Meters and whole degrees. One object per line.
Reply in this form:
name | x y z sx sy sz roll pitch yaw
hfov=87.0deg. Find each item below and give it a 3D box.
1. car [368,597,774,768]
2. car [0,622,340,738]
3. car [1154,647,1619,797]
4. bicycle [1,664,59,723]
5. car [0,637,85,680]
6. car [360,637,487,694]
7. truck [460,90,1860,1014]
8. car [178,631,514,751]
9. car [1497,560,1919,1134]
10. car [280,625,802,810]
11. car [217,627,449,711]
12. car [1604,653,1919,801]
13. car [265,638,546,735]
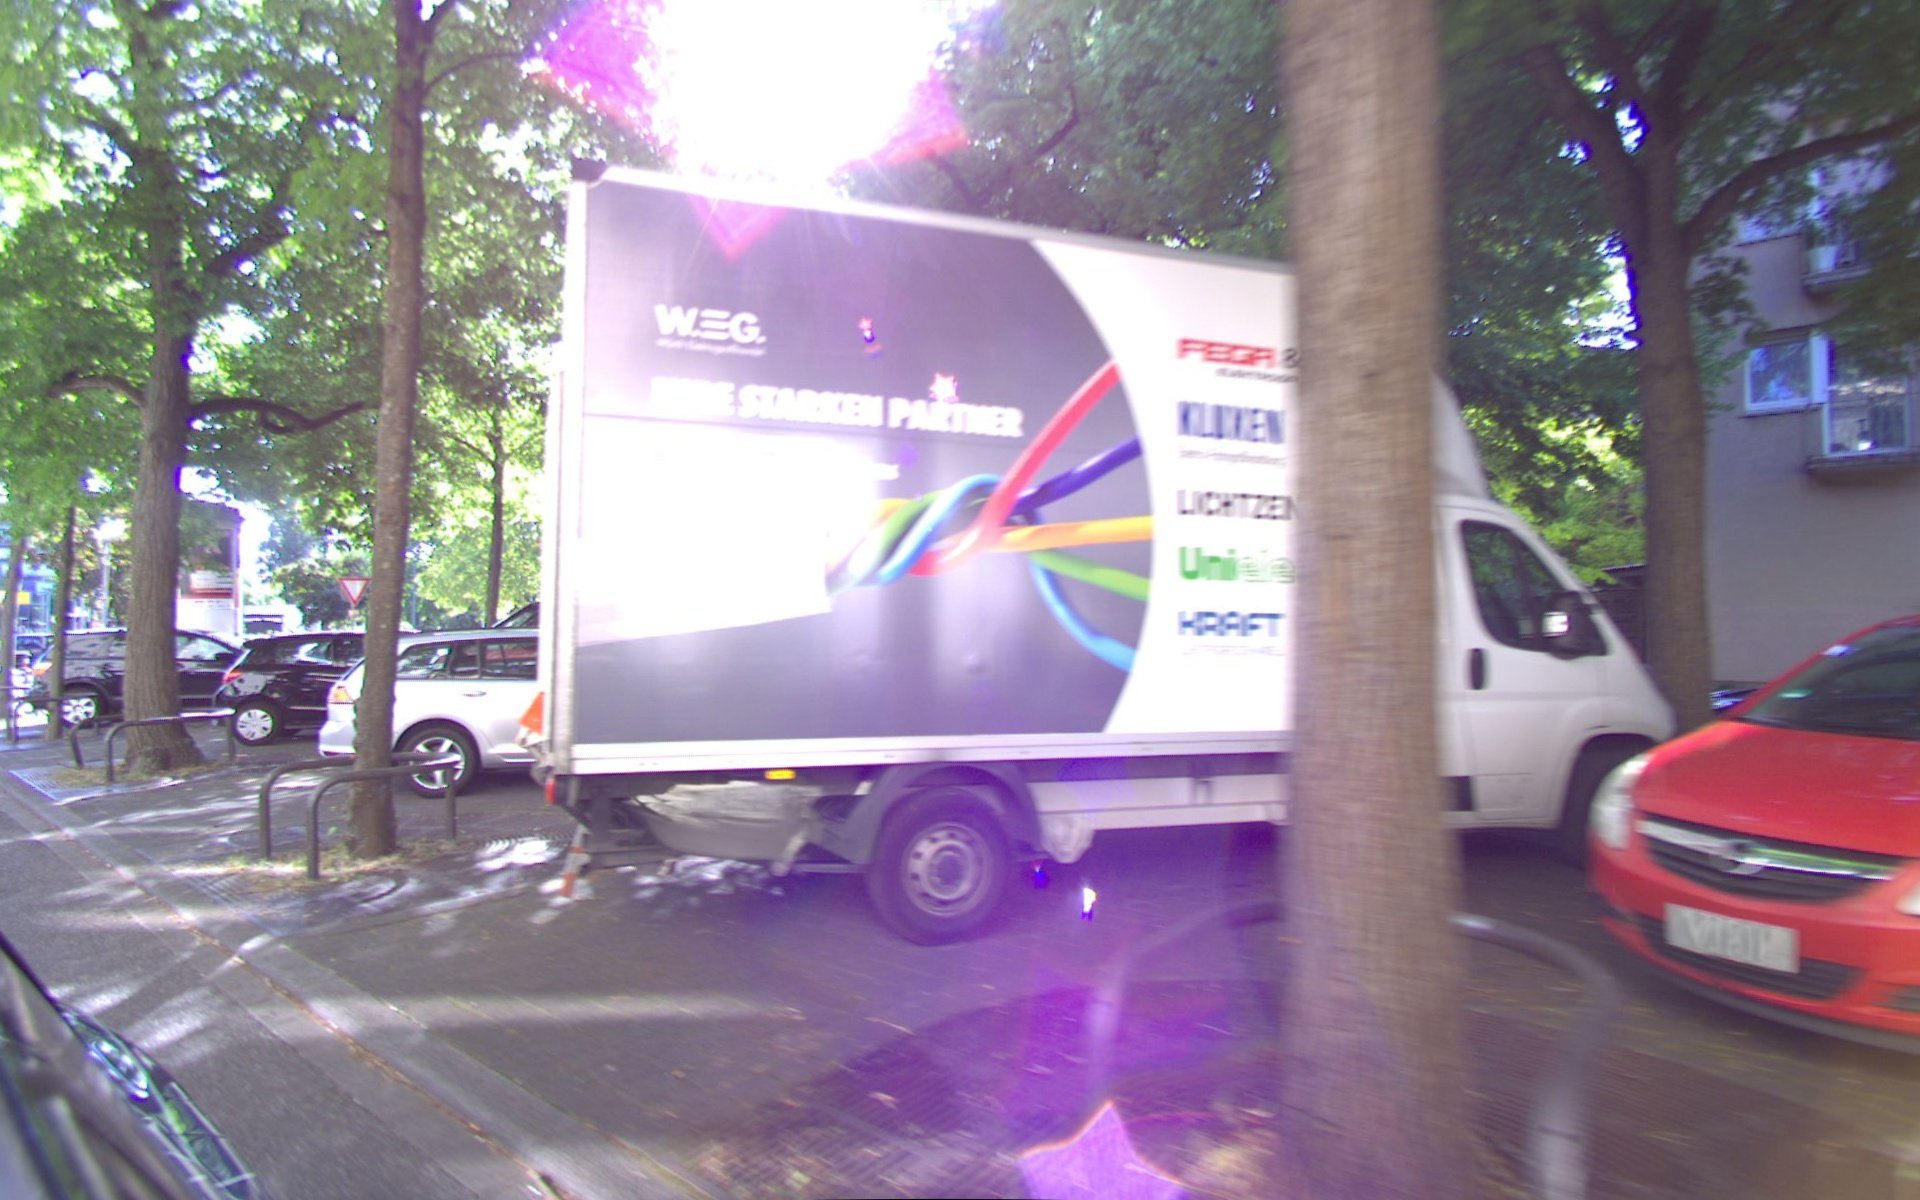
car | -4.681 0.958 12.757 4.426 1.887 1.941 0 -2 -15
car | -13.425 1.303 17.524 4.262 1.684 1.843 -1 -2 -19
car | 4.528 1.205 11.115 4.407 1.304 1.747 -2 -4 38
bicycle | -17.964 1.781 19.543 1.586 1.080 0.350 -1 -3 31
car | -35.322 2.221 38.713 1.655 1.519 3.607 -1 -2 -21
car | -15.675 1.846 29.500 4.298 1.530 1.883 -2 -3 41
truck | 1.282 -0.101 5.933 7.199 3.319 2.554 1 -3 -18
car | -8.391 1.196 14.243 3.757 1.492 1.767 1 -2 -20
car | 4.274 0.665 3.667 3.931 1.514 1.854 0 -2 -18
car | -3.788 1.014 9.801 4.270 1.518 1.819 0 -2 -15
car | -12.987 1.407 21.259 3.931 1.623 1.928 1 -3 -28
car | 9.643 1.329 11.052 4.333 1.446 1.749 -2 -4 35
car | -9.034 1.354 16.821 3.880 1.433 1.827 1 -2 -25
